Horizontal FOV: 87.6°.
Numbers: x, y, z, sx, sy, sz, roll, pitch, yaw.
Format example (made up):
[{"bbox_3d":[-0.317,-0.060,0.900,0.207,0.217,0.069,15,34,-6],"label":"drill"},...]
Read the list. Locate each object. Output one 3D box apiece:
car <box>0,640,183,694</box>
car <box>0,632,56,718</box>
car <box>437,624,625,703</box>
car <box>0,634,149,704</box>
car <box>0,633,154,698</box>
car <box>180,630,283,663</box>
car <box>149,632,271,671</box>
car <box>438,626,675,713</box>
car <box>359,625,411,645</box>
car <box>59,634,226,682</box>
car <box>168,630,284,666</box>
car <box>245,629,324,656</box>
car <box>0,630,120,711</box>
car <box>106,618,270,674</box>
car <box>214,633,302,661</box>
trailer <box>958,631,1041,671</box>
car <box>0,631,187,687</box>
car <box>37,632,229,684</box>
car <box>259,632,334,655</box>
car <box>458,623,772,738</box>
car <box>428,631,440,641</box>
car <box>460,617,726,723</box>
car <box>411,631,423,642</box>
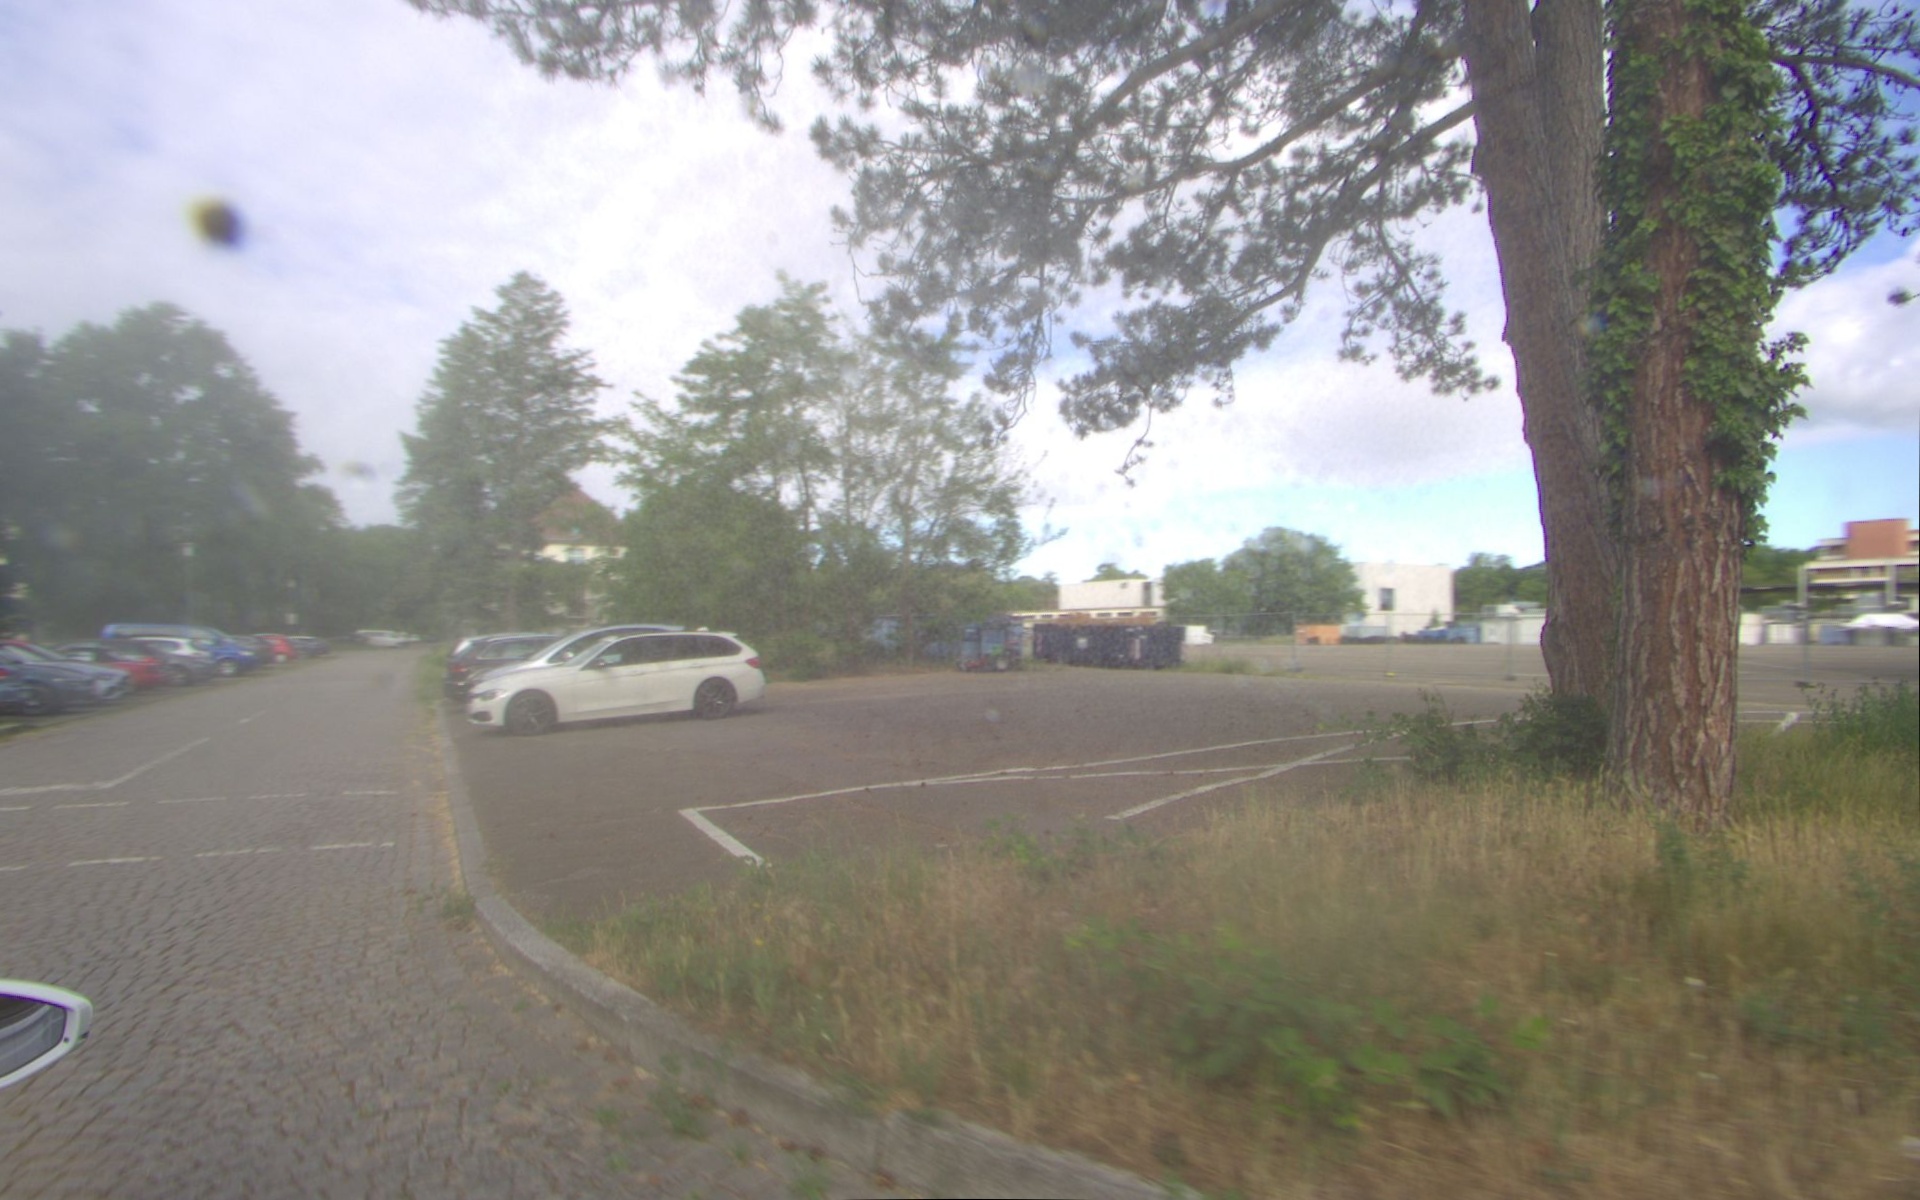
[{"bbox_3d":[-23.002,1.718,26.072,4.084,1.299,1.756,2,-2,-29],"label":"car"},{"bbox_3d":[-18.602,1.279,17.131,4.278,1.489,1.820,1,-3,-27],"label":"car"},{"bbox_3d":[-9.802,1.389,22.940,3.730,1.499,1.733,-2,1,-31],"label":"car"},{"bbox_3d":[-20.821,1.498,21.943,4.385,1.473,1.941,1,-3,-28],"label":"car"},{"bbox_3d":[-22.107,1.540,23.859,4.205,1.474,1.847,2,-2,-29],"label":"car"},{"bbox_3d":[-35.047,2.241,48.283,3.772,1.505,1.753,2,-2,-29],"label":"car"},{"bbox_3d":[-30.316,2.078,40.593,3.753,1.512,1.717,2,-2,-31],"label":"car"},{"bbox_3d":[-8.302,1.355,20.696,4.316,1.425,1.787,-2,1,-30],"label":"car"},{"bbox_3d":[-64.861,4.006,113.025,4.924,2.098,2.043,2,-4,-30],"label":"car"},{"bbox_3d":[-27.107,1.913,33.389,3.958,1.521,1.835,1,-2,-27],"label":"car"},{"bbox_3d":[-33.561,2.179,45.934,4.023,1.595,1.945,2,-2,-30],"label":"car"},{"bbox_3d":[-43.115,2.719,64.036,4.027,1.624,1.778,2,-2,-30],"label":"car"},{"bbox_3d":[-19.532,1.362,19.603,4.454,1.556,1.860,2,-3,-32],"label":"car"},{"bbox_3d":[-29.298,1.739,38.205,4.657,2.006,2.028,2,-2,-29],"label":"car"},{"bbox_3d":[-38.461,2.578,54.953,3.773,1.508,1.779,2,-2,-30],"label":"car"},{"bbox_3d":[1.201,1.551,30.330,2.287,1.184,1.138,2,-3,-30],"label":"trailer"},{"bbox_3d":[-24.559,1.640,28.263,4.040,1.499,1.748,1,-2,-27],"label":"car"},{"bbox_3d":[-25.466,1.769,31.037,4.254,1.499,1.724,1,-2,-27],"label":"car"},{"bbox_3d":[-45.140,2.966,68.255,4.021,1.486,1.620,1,-2,-25],"label":"car"},{"bbox_3d":[-5.528,1.207,16.243,4.500,1.444,1.817,-2,-1,-32],"label":"car"},{"bbox_3d":[-91.357,6.276,173.807,1.770,1.741,4.043,1,-3,-30],"label":"car"},{"bbox_3d":[-6.726,1.207,18.512,4.285,1.595,1.816,-2,-1,-34],"label":"car"},{"bbox_3d":[-93.482,6.269,172.278,1.770,1.656,4.043,1,-3,-30],"label":"car"}]
